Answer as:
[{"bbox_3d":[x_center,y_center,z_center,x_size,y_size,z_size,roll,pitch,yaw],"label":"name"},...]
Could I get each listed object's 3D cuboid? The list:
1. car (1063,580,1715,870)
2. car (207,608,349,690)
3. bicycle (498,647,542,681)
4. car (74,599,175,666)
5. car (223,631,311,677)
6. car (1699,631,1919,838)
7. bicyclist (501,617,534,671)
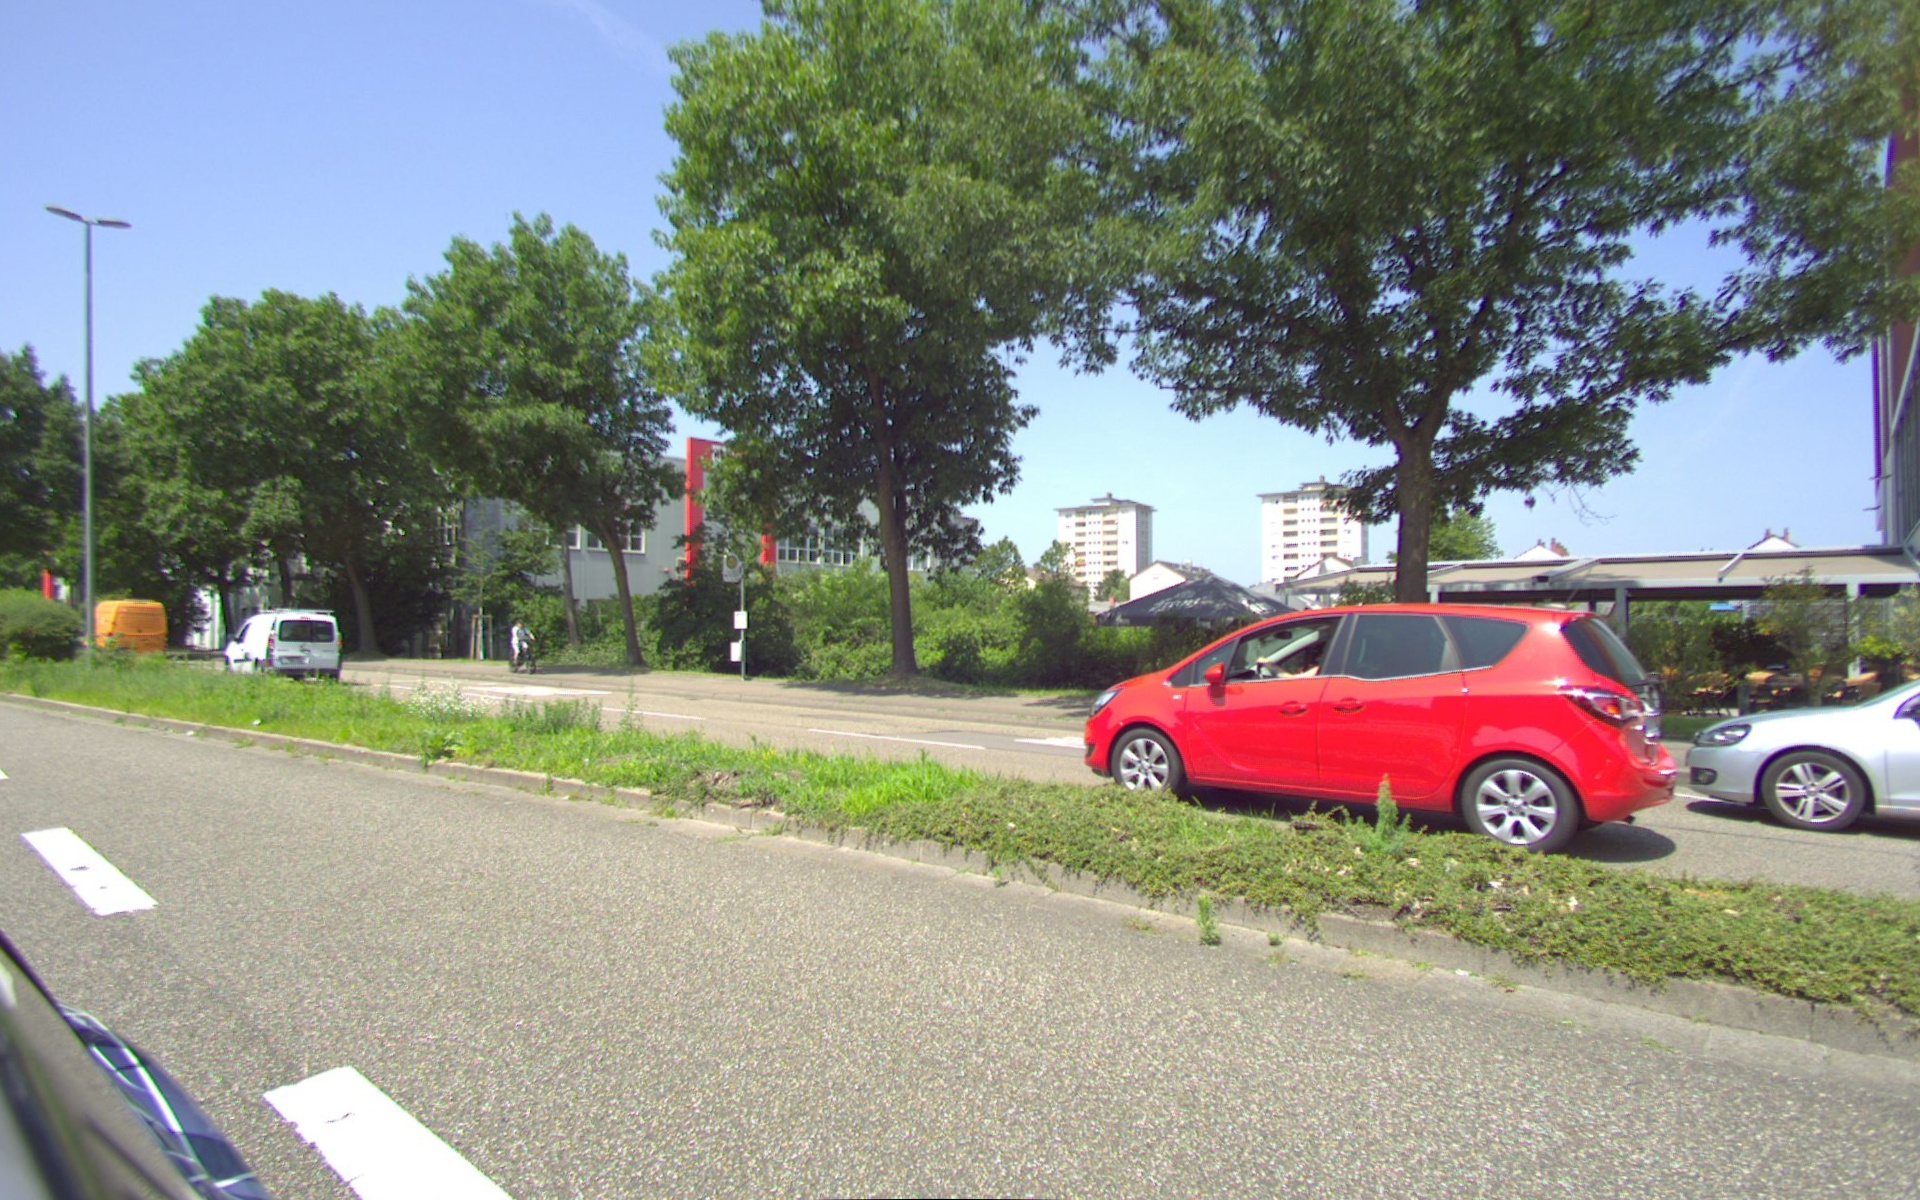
[{"bbox_3d":[2.973,0.778,7.574,4.151,1.582,1.730,-2,-5,42],"label":"car"},{"bbox_3d":[-17.527,1.261,25.934,4.423,1.920,1.832,-2,-5,41],"label":"car"},{"bbox_3d":[-13.502,1.956,31.058,1.660,0.976,0.610,-2,-3,42],"label":"bicycle"},{"bbox_3d":[-34.859,1.400,42.134,6.055,2.587,2.241,-2,-4,42],"label":"car"},{"bbox_3d":[-26.063,2.018,38.028,4.211,1.616,1.697,-2,-5,42],"label":"car"},{"bbox_3d":[7.970,0.988,7.283,4.131,1.462,1.730,-2,-5,42],"label":"car"},{"bbox_3d":[-13.660,1.360,31.234,0.923,1.643,0.601,-2,-3,42],"label":"bicyclist"}]
